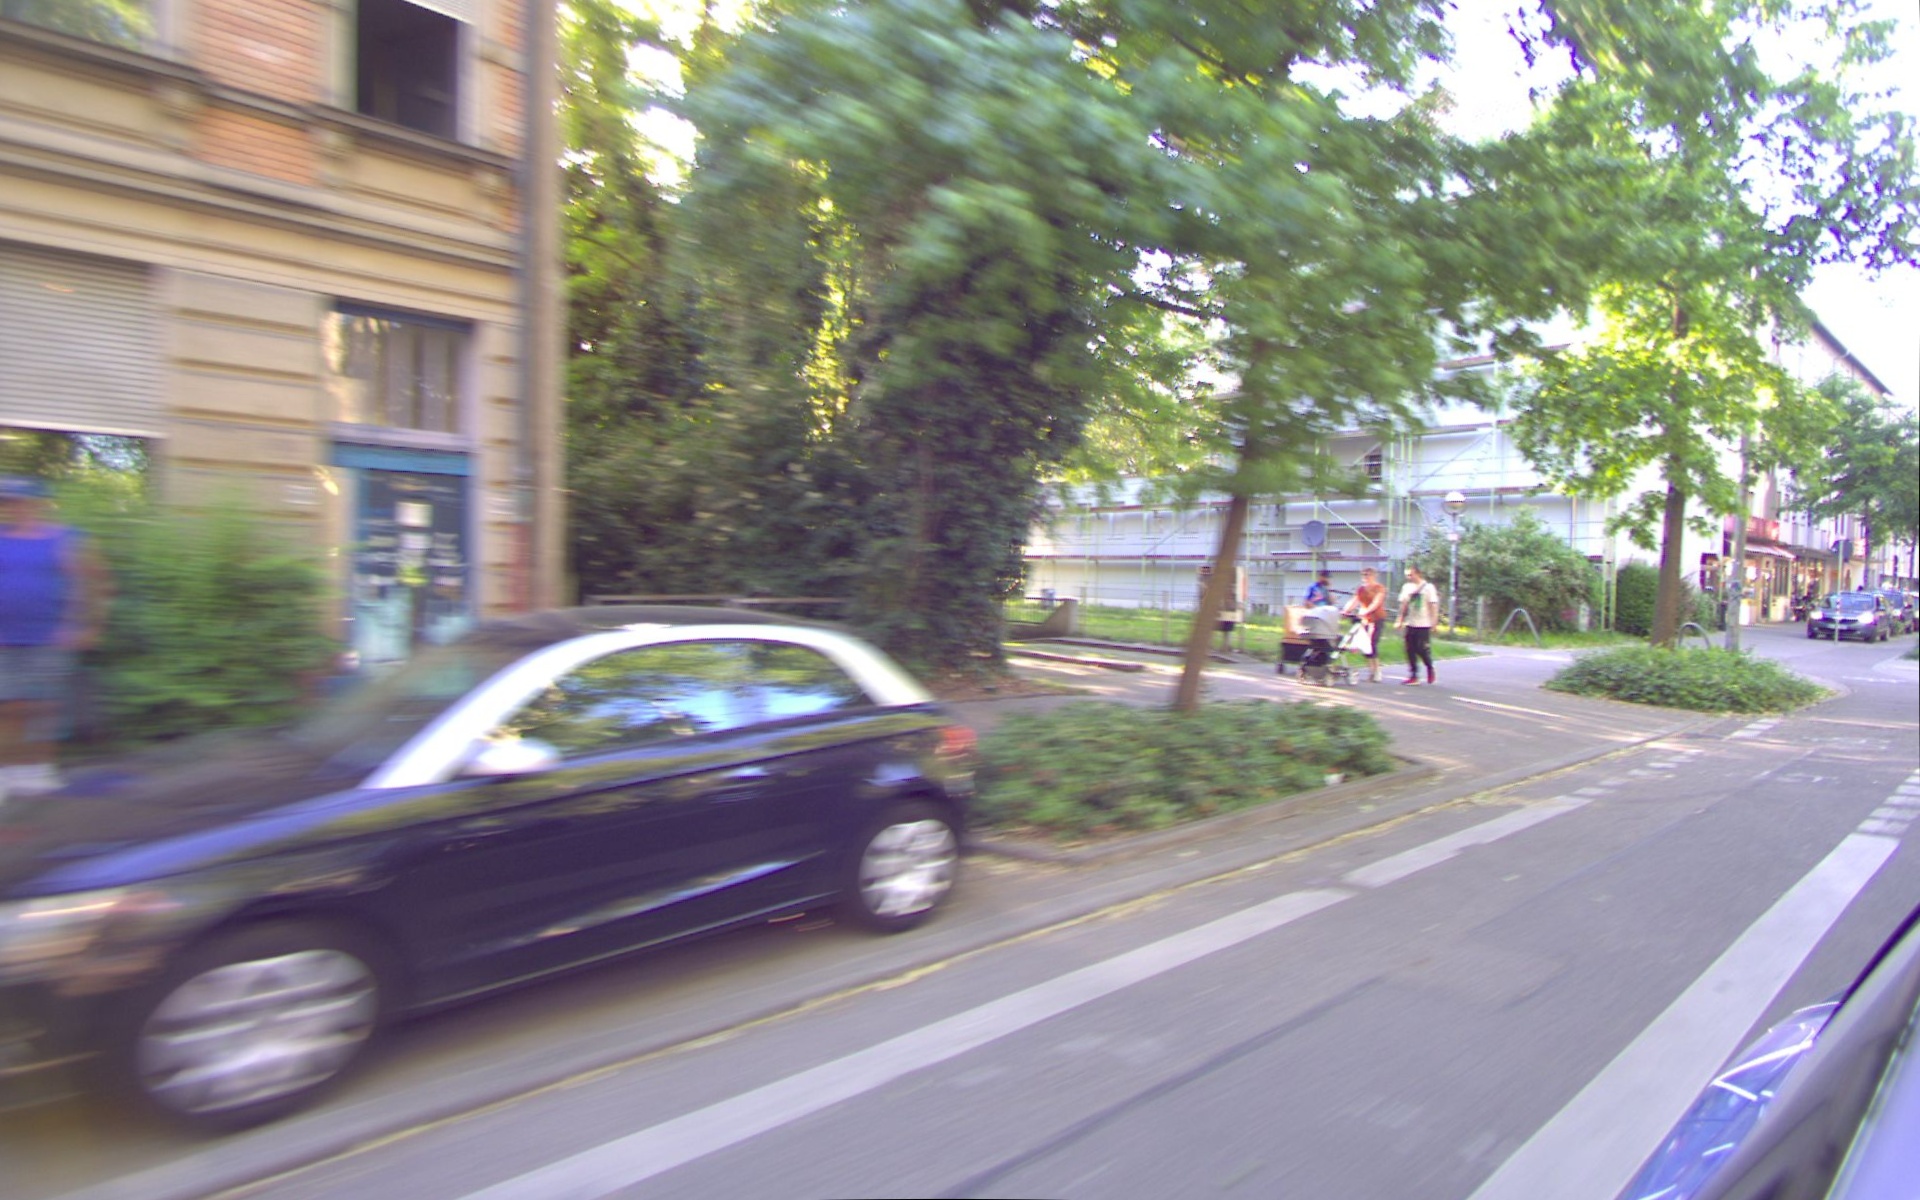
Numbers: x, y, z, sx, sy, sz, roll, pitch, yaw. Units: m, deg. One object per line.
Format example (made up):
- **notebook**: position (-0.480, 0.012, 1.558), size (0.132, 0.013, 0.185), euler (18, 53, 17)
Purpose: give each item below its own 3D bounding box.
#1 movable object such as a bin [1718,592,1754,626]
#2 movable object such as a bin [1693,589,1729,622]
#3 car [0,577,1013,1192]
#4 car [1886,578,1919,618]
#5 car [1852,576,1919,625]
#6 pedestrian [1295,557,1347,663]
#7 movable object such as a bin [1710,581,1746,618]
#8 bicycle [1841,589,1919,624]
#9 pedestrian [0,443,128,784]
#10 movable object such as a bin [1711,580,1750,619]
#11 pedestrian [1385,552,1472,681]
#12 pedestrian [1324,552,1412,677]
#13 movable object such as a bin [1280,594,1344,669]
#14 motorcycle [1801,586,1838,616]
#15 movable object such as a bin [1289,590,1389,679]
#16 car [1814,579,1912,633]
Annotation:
- **movable object such as a bin**: position (27.799, 0.311, 36.265), size (0.685, 1.124, 0.882), euler (0, 3, -43)
- **movable object such as a bin**: position (27.042, 0.186, 36.425), size (0.685, 1.124, 0.882), euler (0, 3, -43)
- **car**: position (-1.722, 0.673, 4.196), size (3.778, 1.429, 1.676), euler (-1, 5, -43)
- **car**: position (44.456, -0.125, 47.055), size (4.103, 1.777, 1.691), euler (-1, 1, -42)
- **car**: position (39.605, -0.004, 42.860), size (4.118, 1.919, 1.999), euler (0, 3, -39)
- **pedestrian**: position (6.071, 0.156, 17.022), size (0.544, 1.747, 0.619), euler (0, 1, -38)
- **movable object such as a bin**: position (29.602, -0.030, 39.000), size (0.811, 1.367, 0.925), euler (0, 3, -43)
- **bicycle**: position (36.133, 0.242, 39.693), size (1.011, 1.224, 2.209), euler (0, 4, -40)
- **pedestrian**: position (-5.195, 0.066, 5.727), size (0.716, 1.815, 0.599), euler (0, 1, -43)
- **movable object such as a bin**: position (29.014, -0.033, 38.120), size (0.811, 1.414, 1.001), euler (0, 3, -43)
- **pedestrian**: position (6.901, 0.226, 14.915), size (0.836, 1.815, 0.729), euler (1, 3, -30)
- **pedestrian**: position (6.185, 0.201, 15.357), size (0.948, 1.815, 0.729), euler (1, 3, -30)
- **movable object such as a bin**: position (5.671, 0.485, 16.280), size (0.665, 1.140, 0.942), euler (1, 1, 42)
- **motorcycle**: position (41.927, 0.052, 49.352), size (2.605, 1.332, 0.954), euler (1, 6, -43)
- **movable object such as a bin**: position (5.510, 0.482, 14.710), size (1.279, 1.217, 0.642), euler (1, 3, -30)
- **car**: position (30.591, 0.196, 34.246), size (4.362, 1.641, 1.767), euler (0, 3, -40)
